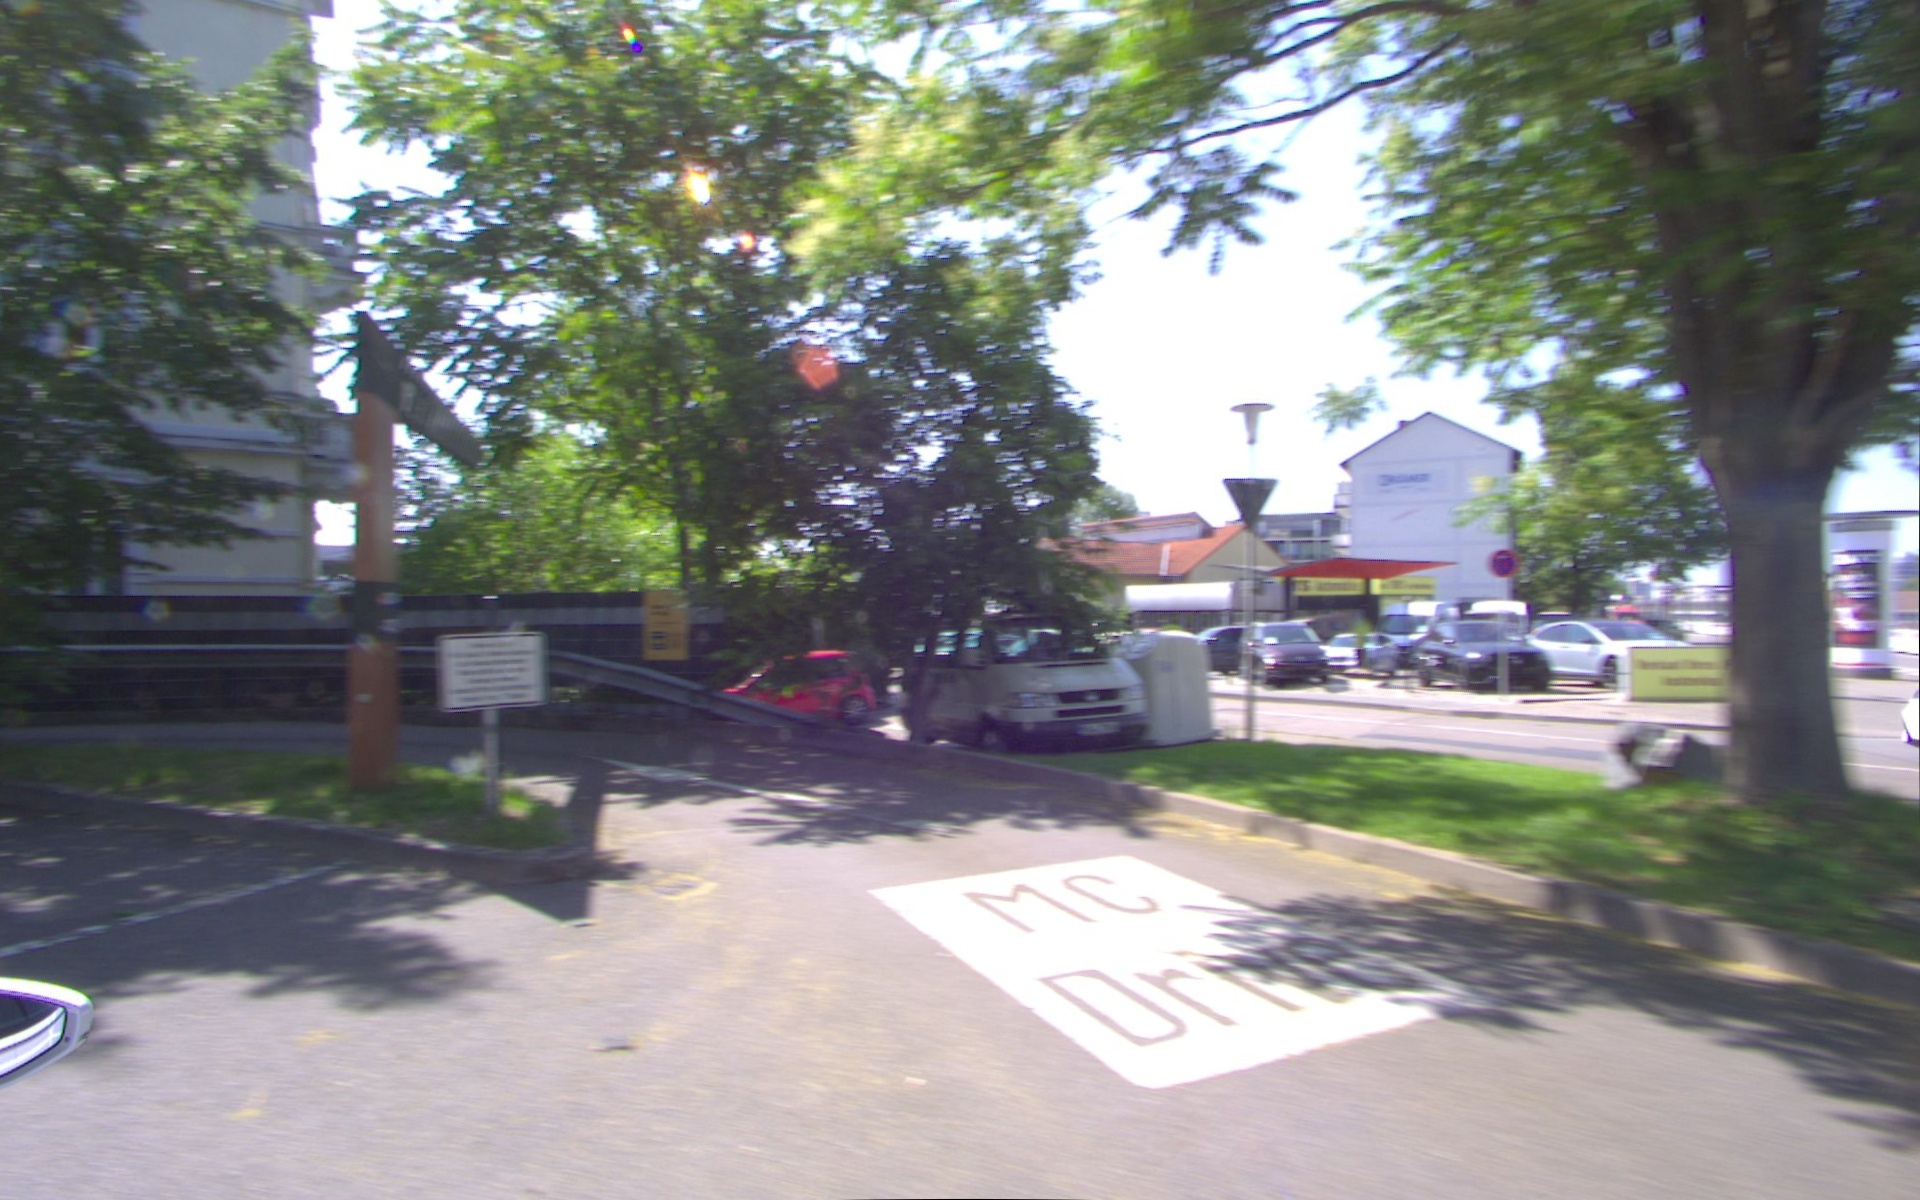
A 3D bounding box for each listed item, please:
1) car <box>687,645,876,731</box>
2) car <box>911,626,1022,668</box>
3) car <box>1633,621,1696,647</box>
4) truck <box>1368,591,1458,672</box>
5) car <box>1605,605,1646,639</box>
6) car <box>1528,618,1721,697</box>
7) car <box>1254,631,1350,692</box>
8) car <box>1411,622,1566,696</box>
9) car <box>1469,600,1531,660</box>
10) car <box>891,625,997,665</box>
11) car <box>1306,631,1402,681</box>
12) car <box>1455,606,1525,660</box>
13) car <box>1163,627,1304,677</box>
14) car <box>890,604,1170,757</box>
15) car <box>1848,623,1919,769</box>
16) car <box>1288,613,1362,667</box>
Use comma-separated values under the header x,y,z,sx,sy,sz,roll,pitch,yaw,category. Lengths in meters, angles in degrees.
x,y,z,sx,sy,sz,roll,pitch,yaw,category
-3.469,1.658,19.518,3.364,1.397,1.479,0,1,-28,car
0.331,2.060,43.845,4.599,1.747,1.986,3,-2,-37,car
47.792,2.324,67.970,3.219,1.658,1.725,2,-1,-9,car
18.083,1.239,39.777,2.244,2.942,5.910,1,0,34,truck
53.597,1.793,80.740,2.509,2.552,5.094,1,-1,31,car
16.175,1.359,24.659,1.961,1.747,4.001,1,-1,-3,car
9.583,1.652,27.860,1.767,1.529,3.983,1,-1,30,car
12.918,1.394,24.807,2.014,1.615,4.424,1,-1,9,car
22.266,1.207,41.201,2.110,2.314,4.690,0,-1,30,car
-0.703,2.099,46.316,4.599,1.747,1.986,3,-2,-37,car
12.913,1.800,32.680,1.772,1.506,3.971,0,-2,39,car
19.132,1.168,36.067,1.856,1.761,4.698,1,-1,32,car
9.417,1.784,34.681,4.252,1.605,2.000,2,-1,-6,car
0.631,0.886,13.207,1.924,1.604,5.020,2,-1,-18,car
12.493,1.076,10.073,1.966,1.666,5.020,1,-1,-19,car
15.002,1.628,41.035,1.971,2.039,4.475,1,-1,32,car
